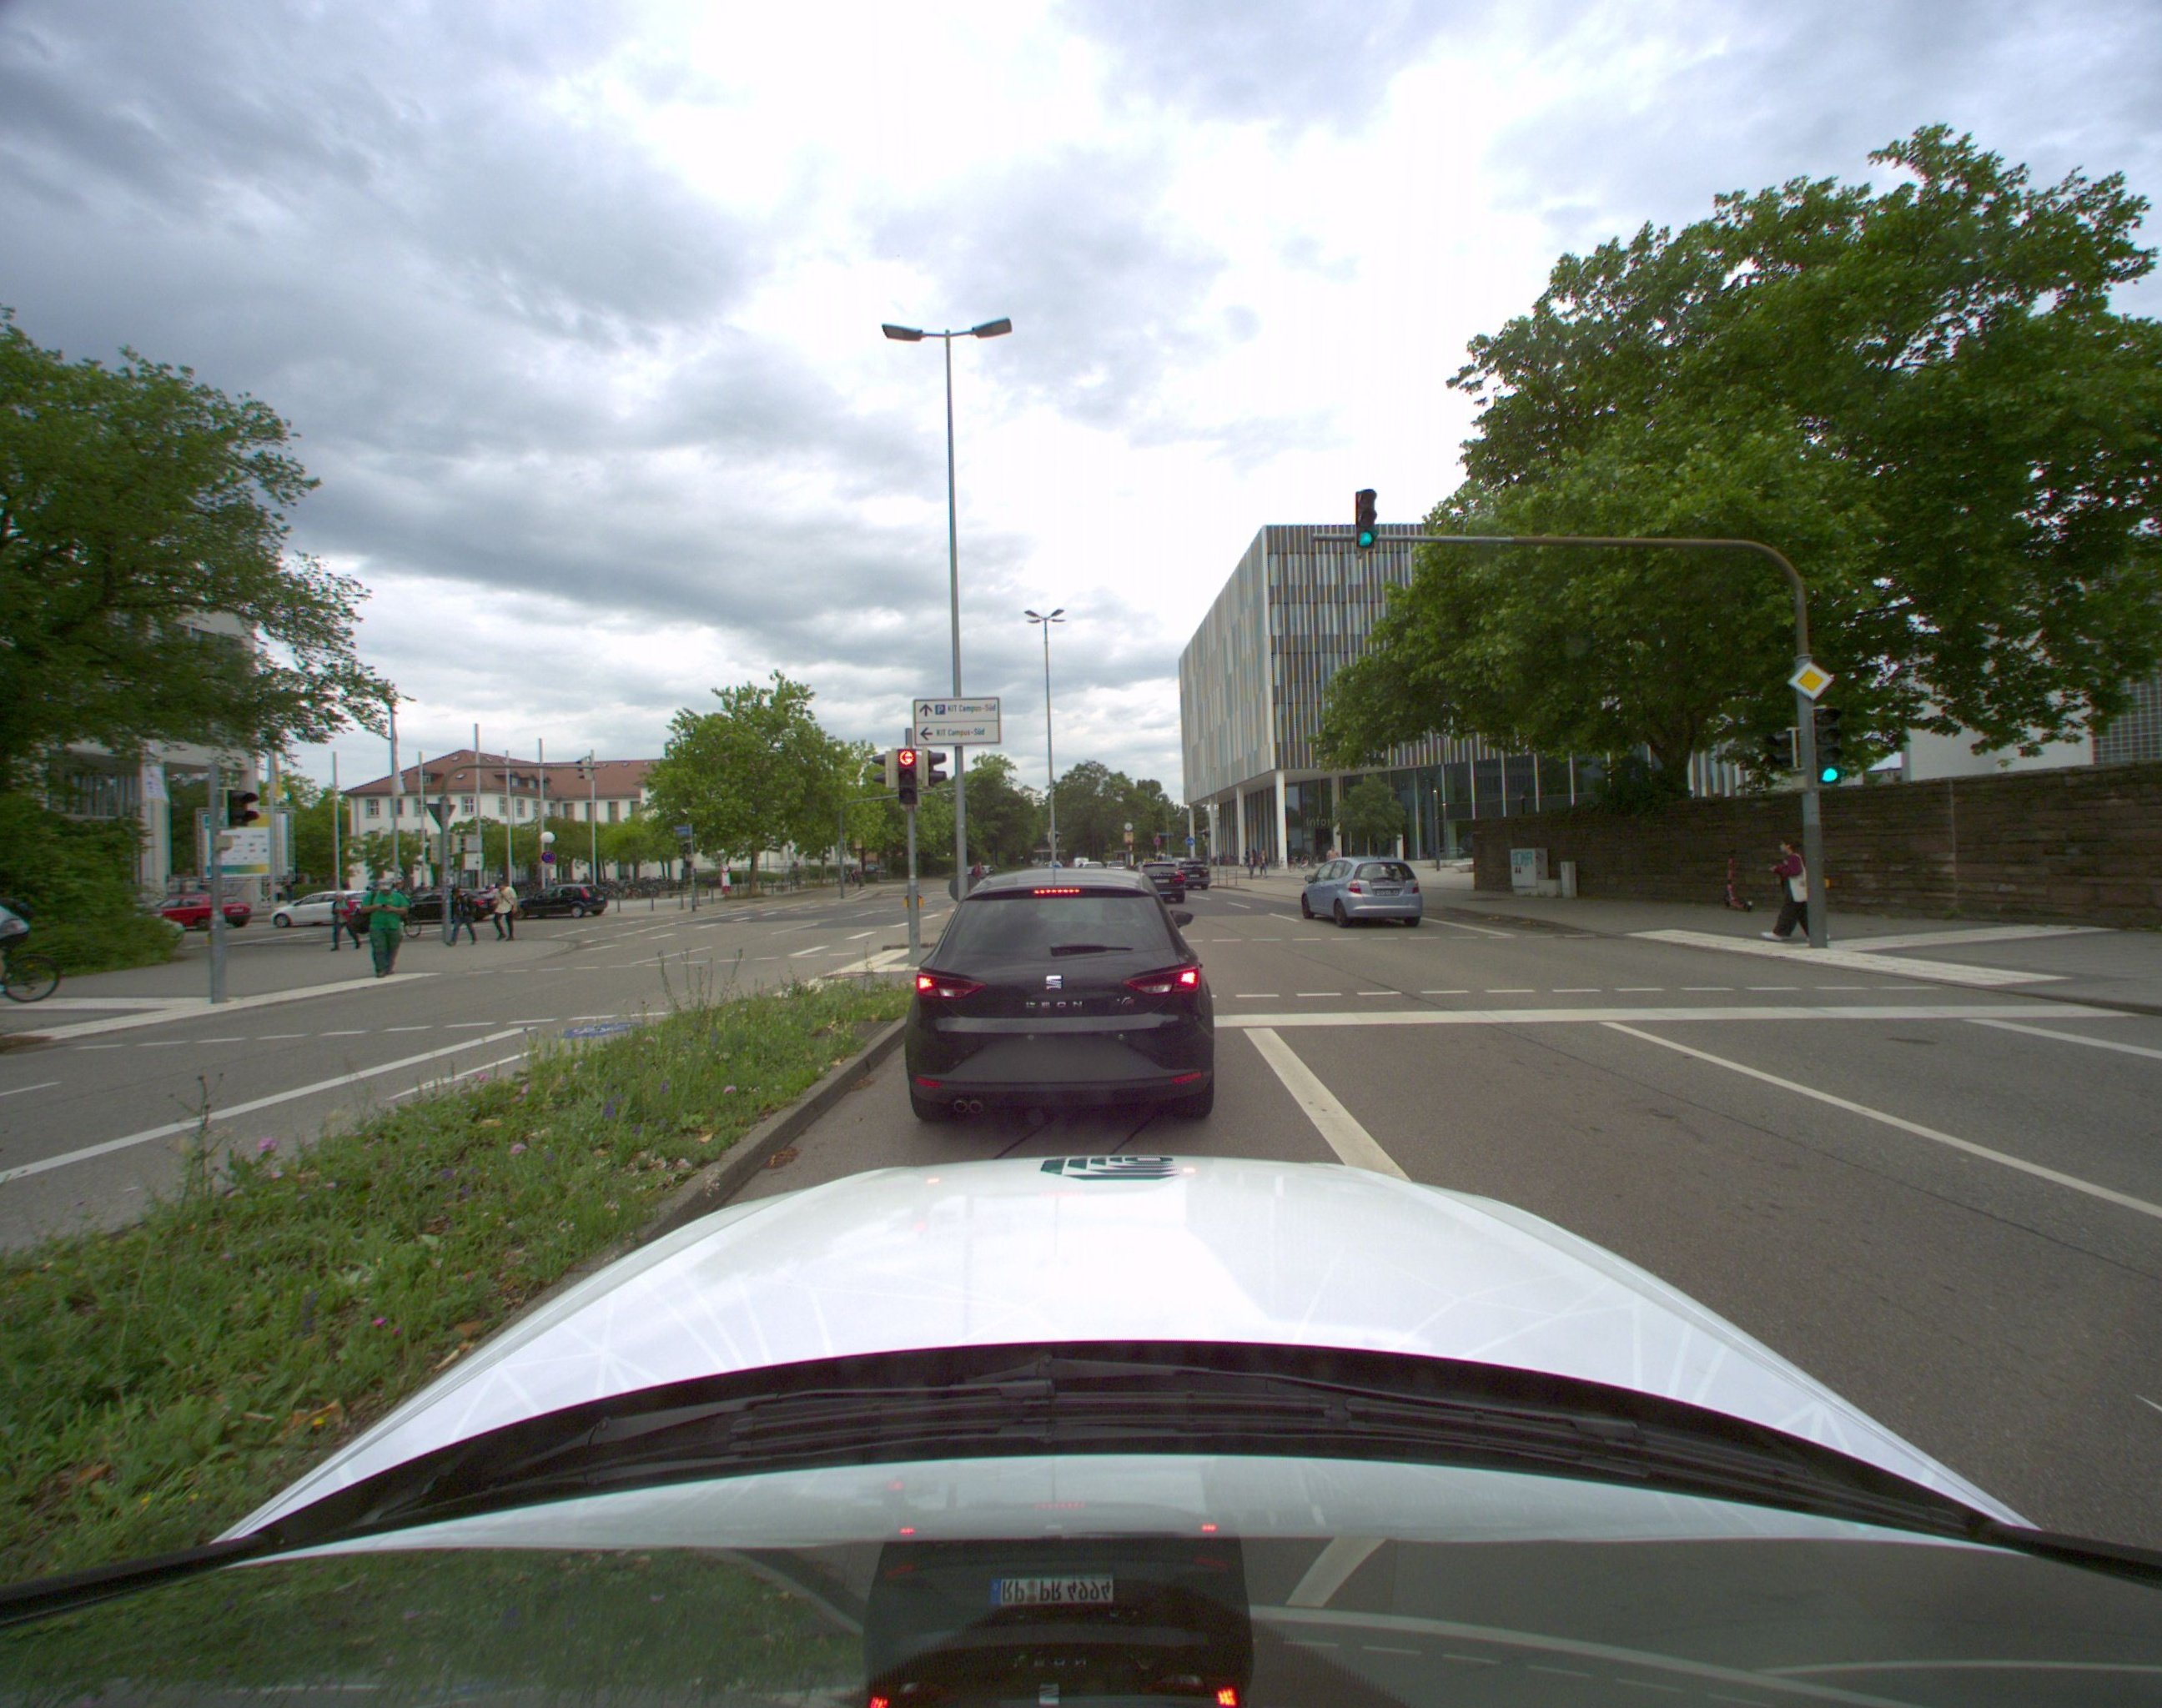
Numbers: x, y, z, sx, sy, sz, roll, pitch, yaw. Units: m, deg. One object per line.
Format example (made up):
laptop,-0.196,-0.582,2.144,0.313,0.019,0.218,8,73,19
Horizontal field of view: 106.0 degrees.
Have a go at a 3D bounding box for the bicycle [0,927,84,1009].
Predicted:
bicycle,-15.609,1.660,11.624,0.662,1.062,1.623,-1,0,8

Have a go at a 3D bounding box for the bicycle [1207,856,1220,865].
bicycle,14.946,0.746,91.680,1.379,0.942,0.489,-3,0,8

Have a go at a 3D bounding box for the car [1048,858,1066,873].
car,-2.505,1.208,84.924,1.719,1.414,4.239,-1,0,-4

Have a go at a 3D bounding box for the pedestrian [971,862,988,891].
pedestrian,-5.822,1.263,46.726,0.873,1.586,0.542,-3,0,-5

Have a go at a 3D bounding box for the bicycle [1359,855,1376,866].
bicycle,21.214,0.501,60.324,1.535,0.716,0.513,-4,0,-42

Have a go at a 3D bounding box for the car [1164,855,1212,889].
car,5.450,0.873,42.011,1.901,1.624,4.491,-1,0,1

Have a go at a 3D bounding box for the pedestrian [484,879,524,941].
pedestrian,-16.780,1.637,23.681,0.845,1.740,0.823,-1,-5,-29

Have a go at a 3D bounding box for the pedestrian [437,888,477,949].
pedestrian,-16.591,1.703,21.647,0.796,1.558,0.691,0,-5,-42

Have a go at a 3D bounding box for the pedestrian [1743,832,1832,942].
pedestrian,10.743,0.487,12.404,0.657,1.561,0.636,-6,0,1

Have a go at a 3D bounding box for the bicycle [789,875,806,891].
bicycle,-20.948,2.162,60.217,0.606,1.060,2.041,-3,0,-4

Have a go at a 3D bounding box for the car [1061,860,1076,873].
car,-1.863,1.822,120.473,1.986,1.734,4.211,-4,0,2

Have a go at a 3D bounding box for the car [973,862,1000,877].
car,-11.186,1.839,96.881,1.746,1.587,4.016,-3,0,15

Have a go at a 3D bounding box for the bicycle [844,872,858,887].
bicycle,-16.189,1.787,57.398,0.486,1.005,1.590,-1,1,2

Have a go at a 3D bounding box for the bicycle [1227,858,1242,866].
bicycle,15.834,0.816,83.991,1.368,0.705,0.416,-4,0,4

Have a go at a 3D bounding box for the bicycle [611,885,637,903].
bicycle,-31.082,2.717,55.429,1.405,1.052,0.585,-4,0,-19

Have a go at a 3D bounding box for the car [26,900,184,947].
car,-37.714,2.654,31.516,4.194,1.431,1.712,-4,0,4

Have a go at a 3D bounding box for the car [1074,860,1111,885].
car,0.683,1.155,51.971,1.781,1.463,3.859,-1,0,-9

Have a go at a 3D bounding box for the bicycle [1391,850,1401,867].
bicycle,22.536,0.314,58.299,0.616,1.056,1.959,-3,0,21

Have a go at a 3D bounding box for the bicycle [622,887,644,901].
bicycle,-30.901,2.761,56.191,1.211,0.880,0.262,-4,0,-22

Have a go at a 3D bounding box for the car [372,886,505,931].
car,-27.574,2.302,35.084,4.059,1.452,1.615,-3,5,-16

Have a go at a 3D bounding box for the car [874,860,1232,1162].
car,-0.009,0.783,5.874,1.745,1.432,3.773,-1,0,4

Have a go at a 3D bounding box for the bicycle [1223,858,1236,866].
bicycle,15.629,0.849,85.794,1.366,0.705,0.490,-4,0,10

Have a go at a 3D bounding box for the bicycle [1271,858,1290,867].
bicycle,17.010,0.722,69.432,1.475,0.748,0.566,-4,0,-2

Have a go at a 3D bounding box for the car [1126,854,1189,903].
car,2.694,0.834,29.625,1.877,1.600,4.447,-1,0,0

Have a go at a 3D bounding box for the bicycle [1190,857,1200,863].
bicycle,14.951,0.757,106.698,1.239,0.823,0.479,0,-1,-21

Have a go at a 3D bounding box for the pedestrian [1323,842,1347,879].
pedestrian,12.318,0.316,39.540,0.844,1.765,0.768,-3,0,1

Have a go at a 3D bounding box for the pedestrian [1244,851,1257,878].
pedestrian,10.167,0.633,48.900,0.684,1.640,0.633,-1,0,1

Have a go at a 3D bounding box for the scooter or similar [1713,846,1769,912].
scooter or similar,13.089,0.469,16.179,0.428,1.179,1.714,-4,0,26

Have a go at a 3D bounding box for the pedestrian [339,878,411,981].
pedestrian,-12.684,1.313,14.636,0.948,1.759,0.865,0,-2,-42

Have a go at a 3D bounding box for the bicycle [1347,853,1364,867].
bicycle,20.495,0.467,60.854,0.688,0.946,1.997,-3,0,32

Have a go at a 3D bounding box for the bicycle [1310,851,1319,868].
bicycle,18.405,0.397,64.117,0.522,1.253,1.674,-3,0,20

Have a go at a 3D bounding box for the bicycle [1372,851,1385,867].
bicycle,21.660,0.374,59.246,0.802,1.056,1.959,-3,0,21

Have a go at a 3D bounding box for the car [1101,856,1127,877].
car,2.604,1.007,63.410,1.817,1.551,4.531,0,-1,4

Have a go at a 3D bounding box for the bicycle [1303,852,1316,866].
bicycle,18.792,0.431,66.903,0.614,1.045,1.716,-3,0,28

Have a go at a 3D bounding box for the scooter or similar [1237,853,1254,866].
scooter or similar,15.791,0.543,78.107,1.682,1.106,0.494,-4,0,-30

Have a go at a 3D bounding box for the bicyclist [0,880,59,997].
bicyclist,-15.605,1.212,11.672,0.662,1.635,0.964,-1,0,8

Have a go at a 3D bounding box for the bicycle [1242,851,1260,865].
bicycle,16.176,0.404,77.520,1.785,1.211,0.564,-4,0,-32

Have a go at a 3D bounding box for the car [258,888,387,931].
car,-33.049,2.399,35.566,3.868,1.539,1.684,-2,2,-2

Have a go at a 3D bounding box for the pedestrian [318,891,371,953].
pedestrian,-19.113,1.764,21.149,0.568,1.527,0.848,-4,-5,-1

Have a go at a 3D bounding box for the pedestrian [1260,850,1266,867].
pedestrian,15.318,0.358,68.532,0.469,1.361,0.447,-3,0,12

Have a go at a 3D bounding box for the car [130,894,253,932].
car,-38.199,2.503,35.032,3.341,1.479,1.559,-1,0,-5

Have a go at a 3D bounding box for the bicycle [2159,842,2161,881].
bicycle,13.554,0.402,8.920,0.801,1.174,1.952,-5,0,-3

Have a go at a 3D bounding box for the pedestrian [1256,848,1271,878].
pedestrian,10.949,0.527,48.909,0.684,1.781,0.677,-2,0,1

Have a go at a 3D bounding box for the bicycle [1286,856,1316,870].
bicycle,15.108,0.617,55.991,1.892,0.898,0.693,-4,0,-20

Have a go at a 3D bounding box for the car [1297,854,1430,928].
car,6.155,0.754,18.192,1.661,1.466,3.659,-1,0,0

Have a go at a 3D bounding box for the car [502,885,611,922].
car,-23.104,2.165,35.961,3.649,1.223,1.562,-2,7,-5

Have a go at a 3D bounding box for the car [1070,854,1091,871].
car,-0.062,1.003,98.576,1.965,1.972,4.332,0,0,-7

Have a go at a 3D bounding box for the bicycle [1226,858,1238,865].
bicycle,16.208,0.790,87.355,1.266,0.705,0.486,-4,0,8

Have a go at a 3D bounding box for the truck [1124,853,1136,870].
truck,6.561,0.985,108.702,1.313,2.243,3.403,-3,0,2

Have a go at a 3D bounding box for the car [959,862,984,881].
car,-11.671,1.835,86.752,1.899,1.717,4.002,-3,0,2

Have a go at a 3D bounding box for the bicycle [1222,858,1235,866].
bicycle,15.706,0.841,86.685,1.232,0.705,0.490,-4,0,10

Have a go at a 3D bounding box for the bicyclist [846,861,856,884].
bicyclist,-16.195,1.304,57.385,0.489,1.624,0.588,0,1,1
